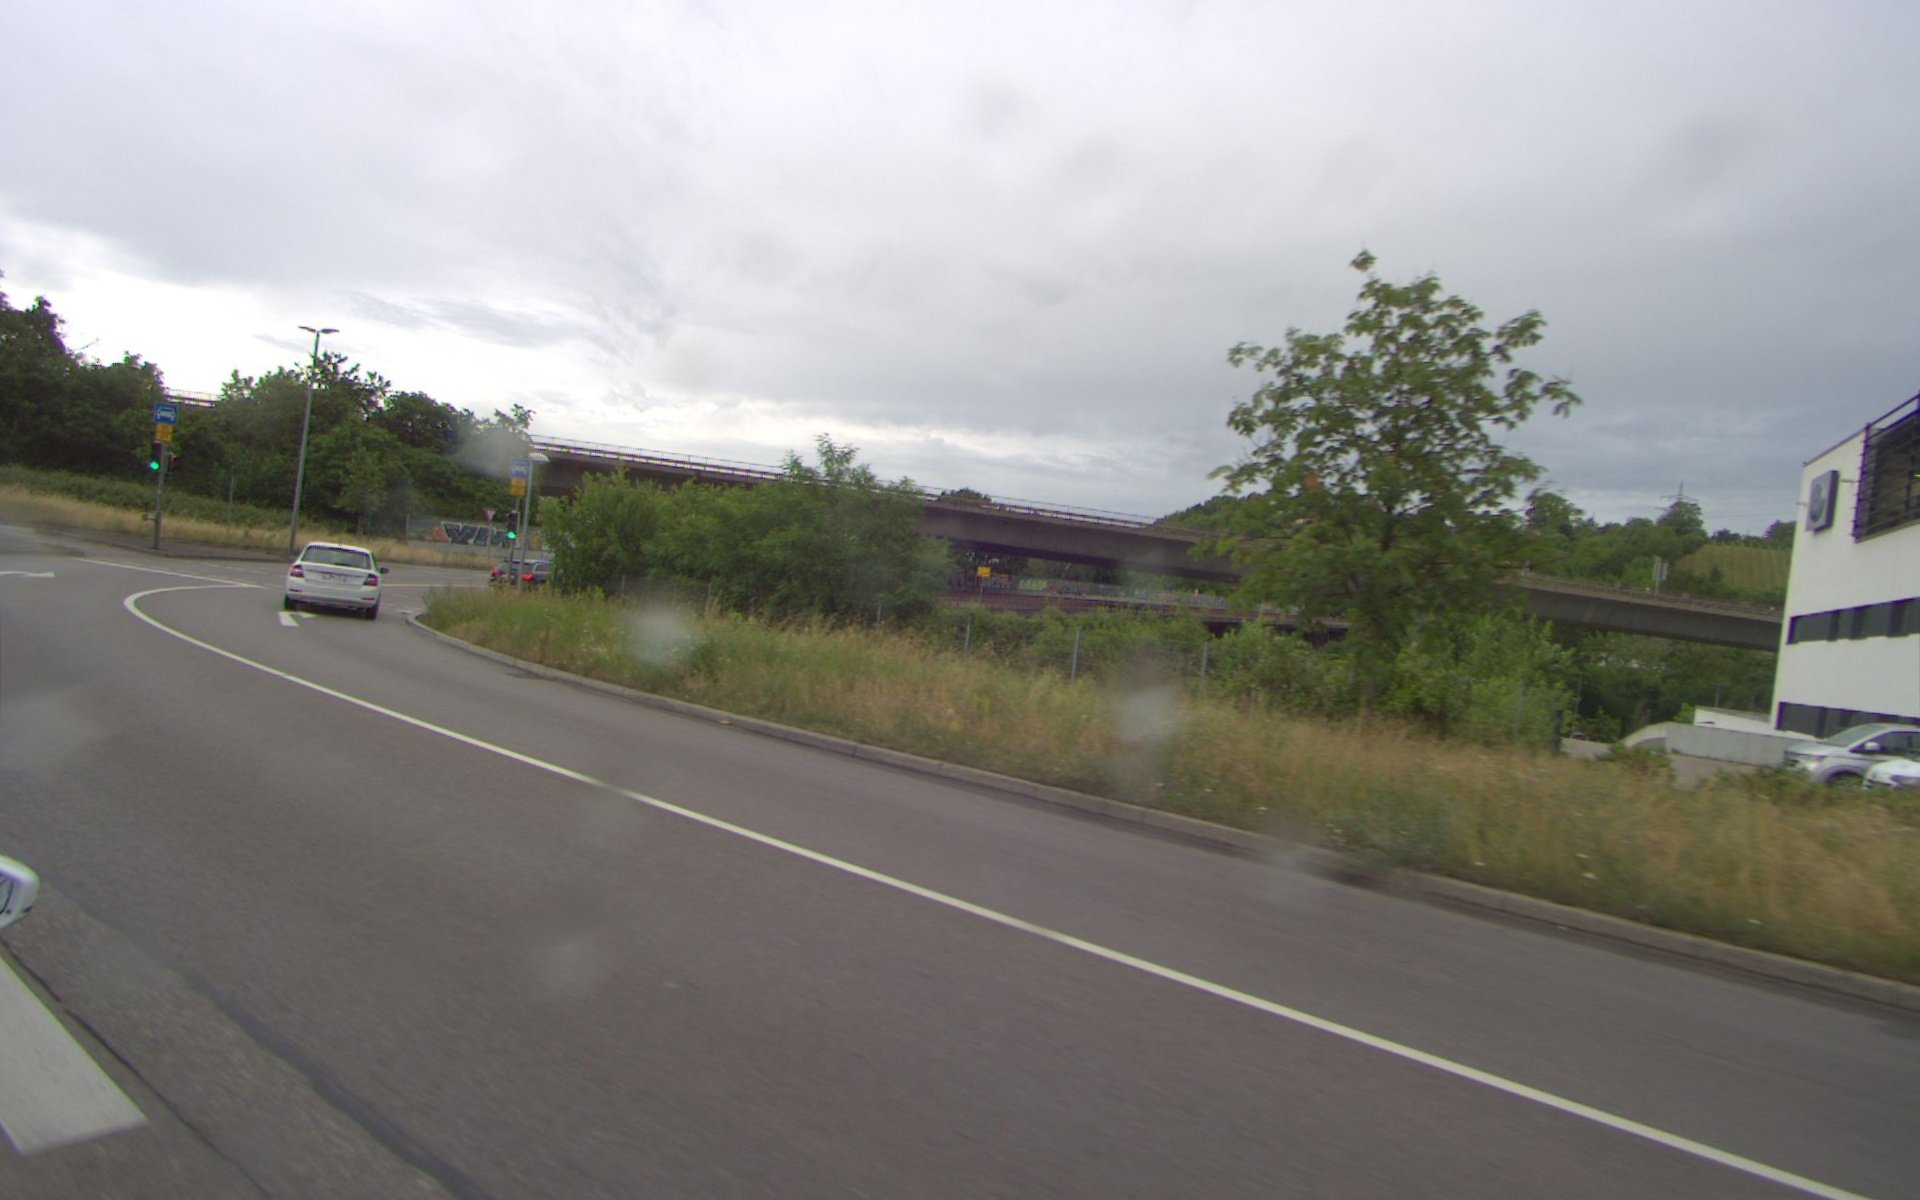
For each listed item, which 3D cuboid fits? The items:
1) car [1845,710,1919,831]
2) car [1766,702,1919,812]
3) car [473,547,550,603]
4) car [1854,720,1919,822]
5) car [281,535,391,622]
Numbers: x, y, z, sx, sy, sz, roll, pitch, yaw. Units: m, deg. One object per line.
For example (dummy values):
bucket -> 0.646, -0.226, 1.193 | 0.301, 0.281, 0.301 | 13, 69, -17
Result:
car -> 19.378, 3.402, 17.808 | 5.002, 2.038, 2.048 | 8, 0, 28
car -> 21.812, 3.764, 23.106 | 4.623, 2.074, 1.953 | 8, -2, 26
car -> -17.493, -1.009, 39.172 | 1.893, 1.557, 3.956 | 3, 7, -36
car -> 20.746, 3.684, 19.989 | 3.931, 1.921, 1.999 | 7, -2, 29
car -> -13.595, -0.511, 21.821 | 1.737, 1.474, 3.637 | 9, -1, -34
